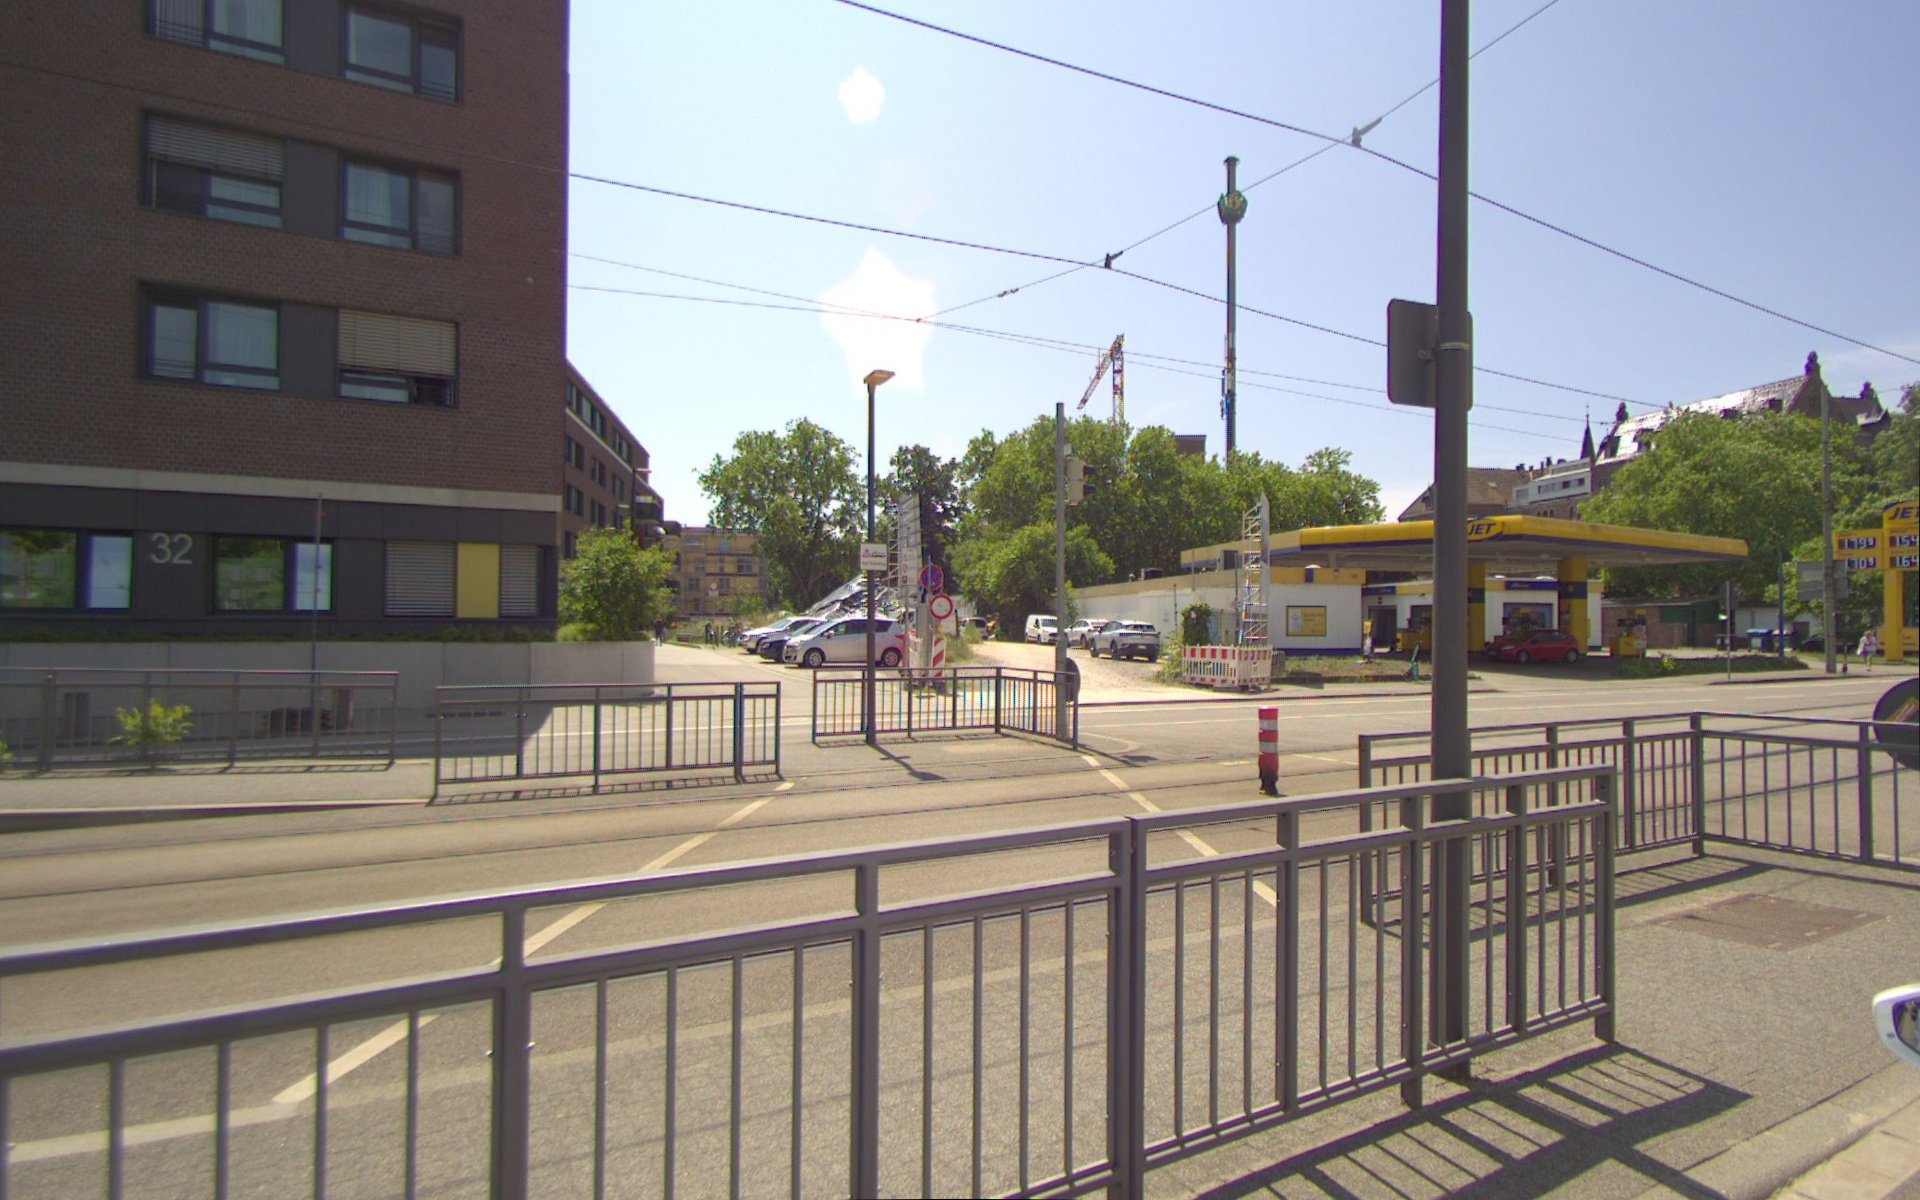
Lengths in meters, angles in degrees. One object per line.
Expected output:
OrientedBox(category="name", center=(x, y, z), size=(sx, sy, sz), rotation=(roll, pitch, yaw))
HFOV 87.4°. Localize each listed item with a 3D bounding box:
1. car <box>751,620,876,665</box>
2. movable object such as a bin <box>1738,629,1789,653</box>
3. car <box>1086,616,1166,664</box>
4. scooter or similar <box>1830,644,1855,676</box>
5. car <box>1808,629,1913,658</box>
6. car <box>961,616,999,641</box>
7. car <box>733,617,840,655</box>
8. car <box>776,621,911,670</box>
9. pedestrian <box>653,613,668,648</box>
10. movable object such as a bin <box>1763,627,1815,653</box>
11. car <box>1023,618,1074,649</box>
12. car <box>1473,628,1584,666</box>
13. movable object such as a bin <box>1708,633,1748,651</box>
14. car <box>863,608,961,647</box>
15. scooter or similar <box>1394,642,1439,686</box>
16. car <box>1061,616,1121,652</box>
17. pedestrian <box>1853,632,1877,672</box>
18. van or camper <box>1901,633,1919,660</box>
OrientedBox(category="car", center=(-5.038, 1.468, 34.652), size=(3.946, 1.488, 1.727), rotation=(1, -1, -25))
OrientedBox(category="movable object such as a bin", center=(50.884, 2.588, 63.601), size=(2.062, 1.451, 1.523), rotation=(1, 0, -11))
OrientedBox(category="car", center=(6.733, 1.602, 41.223), size=(1.858, 1.769, 4.269), rotation=(1, 0, -11))
OrientedBox(category="scooter or similar", center=(35.081, 2.364, 39.927), size=(1.364, 1.216, 0.515), rotation=(1, 0, -38))
OrientedBox(category="car", center=(53.507, 2.580, 59.748), size=(4.361, 1.508, 1.936), rotation=(1, 0, 5))
OrientedBox(category="car", center=(1.432, 2.104, 74.910), size=(1.965, 1.685, 4.269), rotation=(1, 0, -11))
OrientedBox(category="car", center=(-6.998, 1.451, 40.531), size=(3.946, 1.488, 1.727), rotation=(1, -1, -25))
OrientedBox(category="car", center=(-3.717, 1.440, 32.007), size=(3.944, 1.488, 1.727), rotation=(1, -1, -24))
OrientedBox(category="pedestrian", center=(-14.777, 1.487, 49.513), size=(0.676, 1.685, 0.602), rotation=(1, 0, -19))
OrientedBox(category="movable object such as a bin", center=(51.160, 2.480, 62.012), size=(2.062, 1.529, 1.523), rotation=(1, 0, -11))
OrientedBox(category="car", center=(5.302, 1.989, 60.769), size=(1.965, 1.685, 4.269), rotation=(1, 0, -11))
OrientedBox(category="car", center=(25.108, 2.042, 44.414), size=(4.125, 1.525, 1.827), rotation=(0, 1, -12))
OrientedBox(category="movable object such as a bin", center=(50.067, 2.731, 65.467), size=(1.536, 1.153, 1.406), rotation=(1, 0, -11))
OrientedBox(category="car", center=(-2.476, 1.439, 51.759), size=(4.746, 1.930, 1.728), rotation=(1, -1, -23))
OrientedBox(category="scooter or similar", center=(13.596, 1.901, 29.916), size=(1.220, 1.281, 0.345), rotation=(1, 0, -11))
OrientedBox(category="car", center=(7.027, 1.804, 54.430), size=(1.965, 1.805, 4.269), rotation=(1, 0, -11))
OrientedBox(category="pedestrian", center=(39.521, 2.252, 43.860), size=(0.714, 1.713, 0.621), rotation=(1, -1, -32))
OrientedBox(category="van or camper", center=(61.497, 2.933, 62.666), size=(1.852, 1.651, 3.759), rotation=(0, 0, -35))
